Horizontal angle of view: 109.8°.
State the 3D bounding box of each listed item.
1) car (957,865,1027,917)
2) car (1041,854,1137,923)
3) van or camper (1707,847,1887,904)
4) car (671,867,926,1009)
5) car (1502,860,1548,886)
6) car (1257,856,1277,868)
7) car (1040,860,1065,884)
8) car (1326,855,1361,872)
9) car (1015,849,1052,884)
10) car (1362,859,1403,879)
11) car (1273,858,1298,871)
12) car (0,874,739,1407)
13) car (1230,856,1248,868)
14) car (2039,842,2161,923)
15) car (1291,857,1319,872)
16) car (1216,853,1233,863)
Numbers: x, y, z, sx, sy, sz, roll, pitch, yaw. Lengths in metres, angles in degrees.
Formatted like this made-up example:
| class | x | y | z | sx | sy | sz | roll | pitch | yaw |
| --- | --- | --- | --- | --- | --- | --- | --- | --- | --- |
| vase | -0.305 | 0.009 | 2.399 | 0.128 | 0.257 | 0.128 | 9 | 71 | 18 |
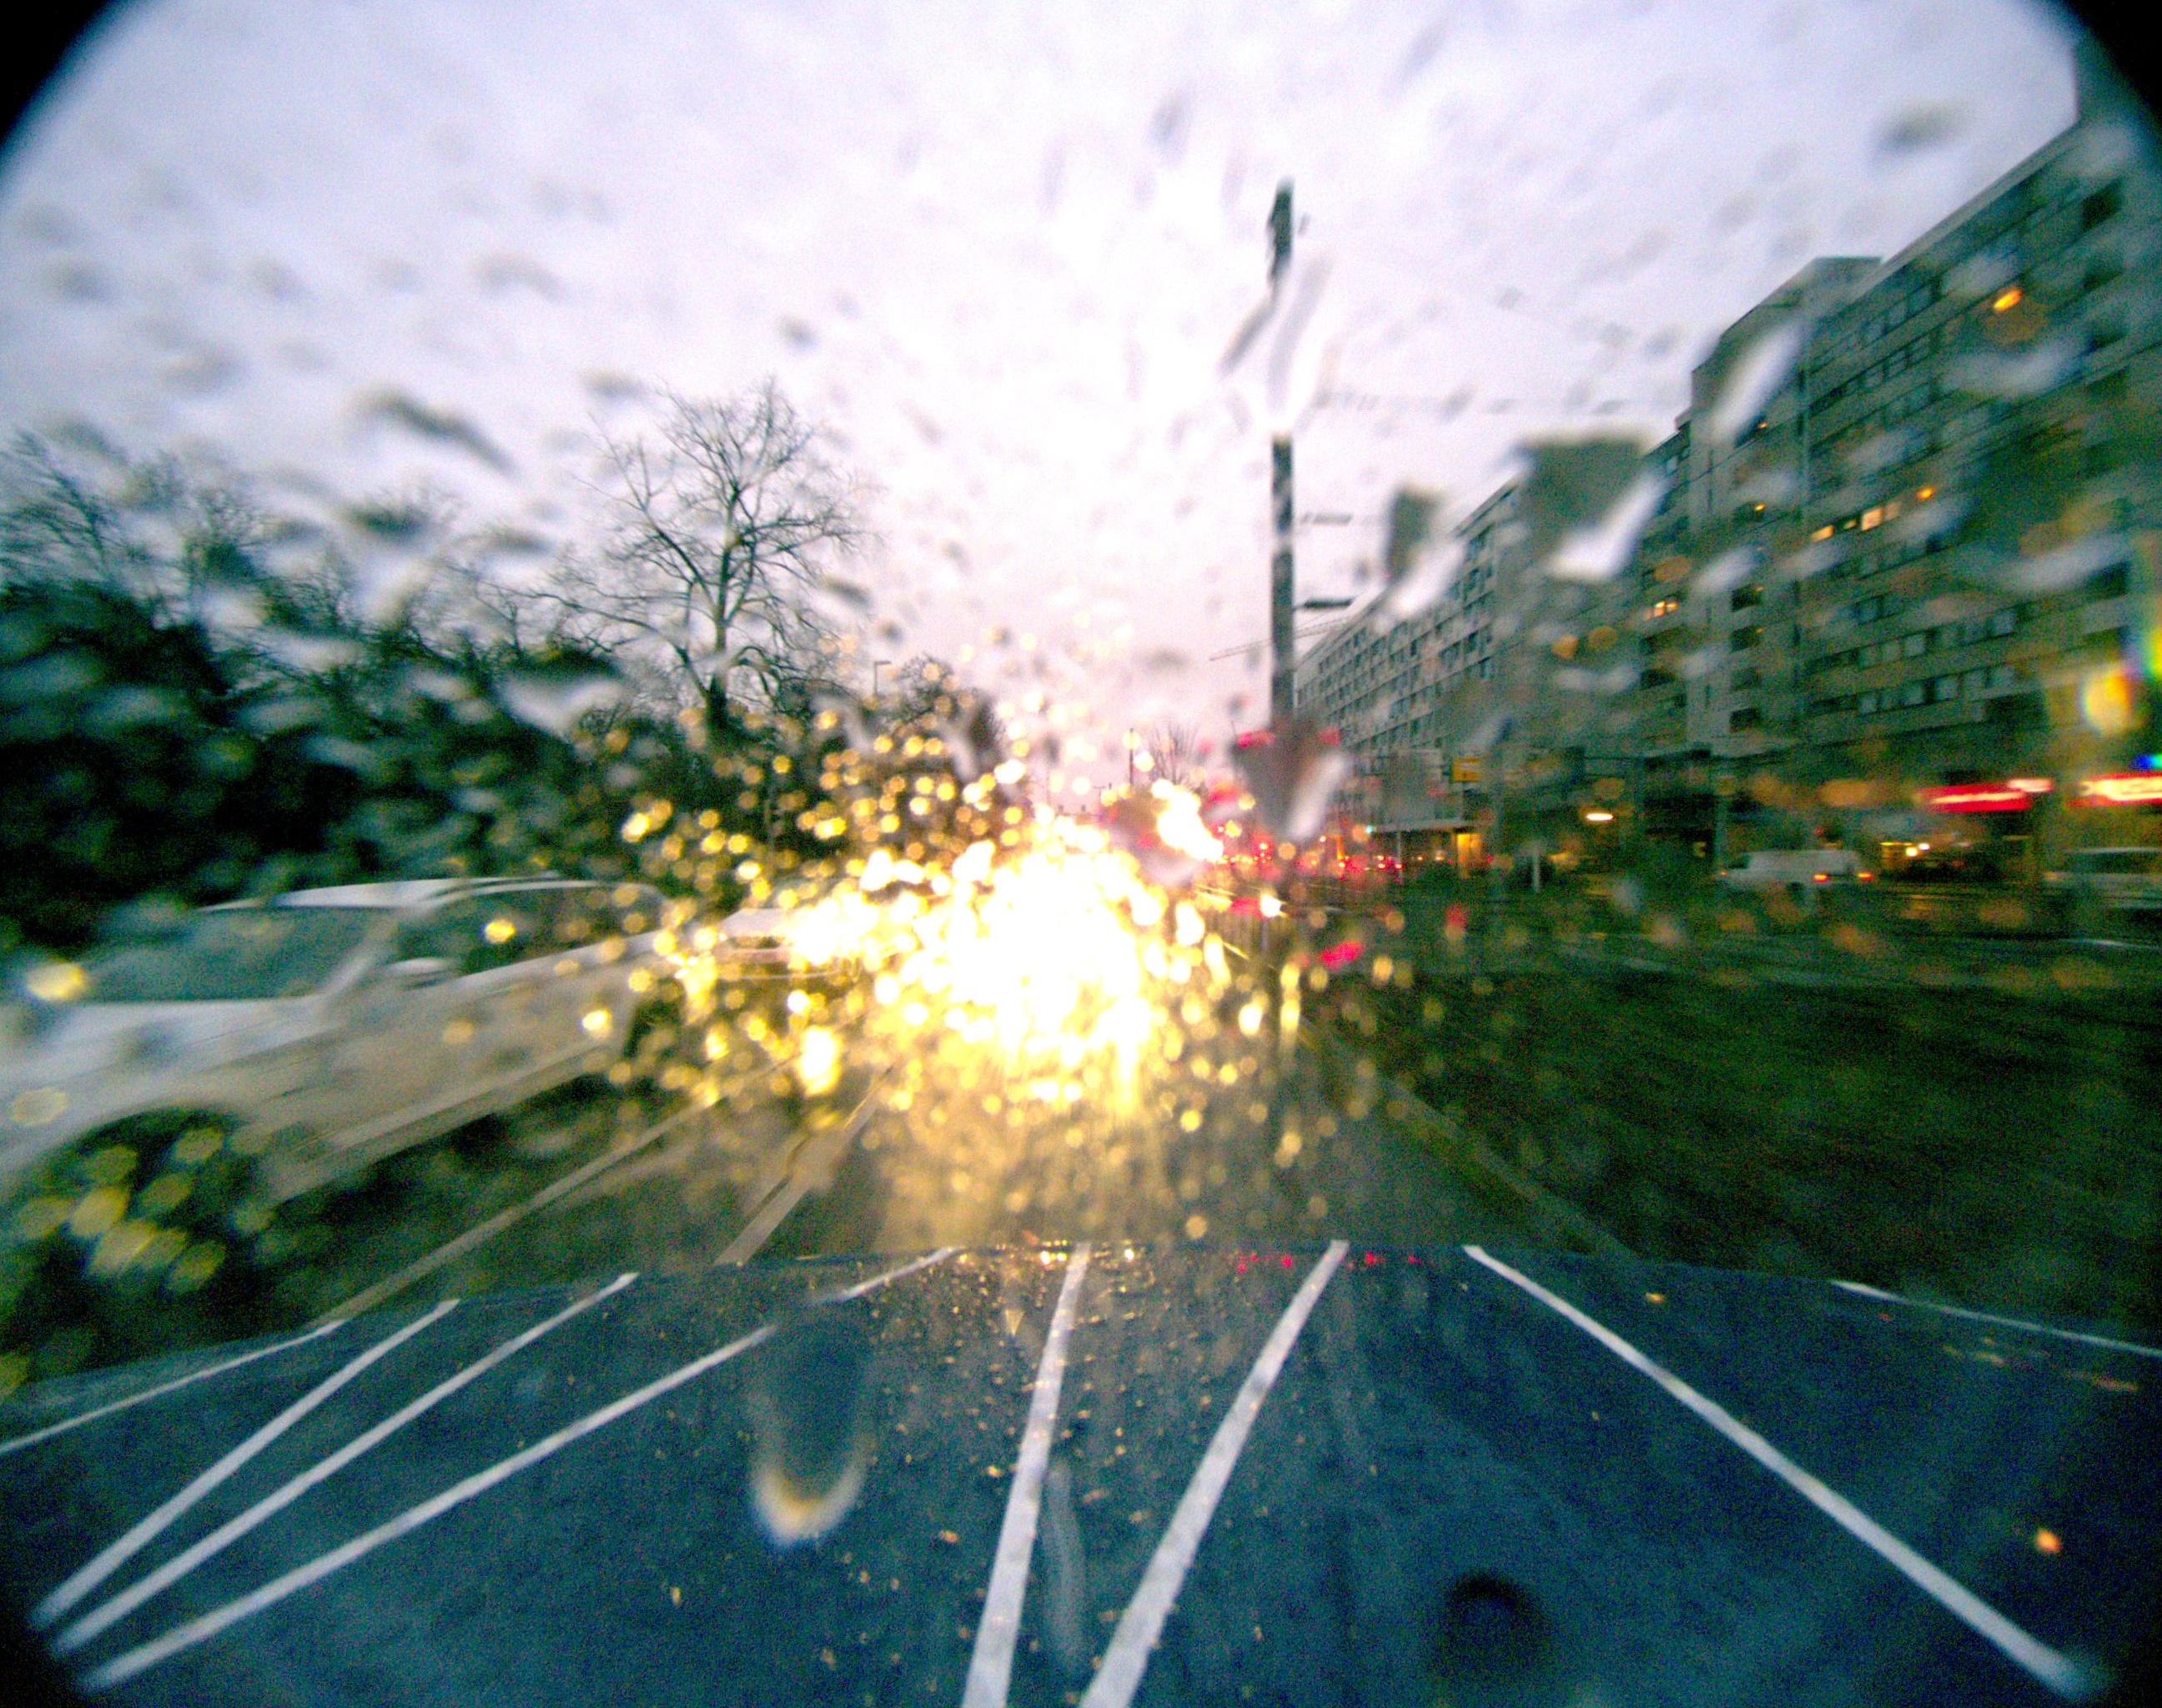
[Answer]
| class | x | y | z | sx | sy | sz | roll | pitch | yaw |
| --- | --- | --- | --- | --- | --- | --- | --- | --- | --- |
| car | -2.961 | 1.211 | 26.157 | 1.880 | 1.490 | 4.076 | -1 | 1 | 0 |
| car | 0.201 | 0.790 | 19.316 | 2.160 | 1.490 | 4.007 | -1 | 1 | 0 |
| van or camper | 28.609 | 0.777 | 30.726 | 1.998 | 2.085 | 5.654 | -1 | 0 | 0 |
| car | -3.618 | 0.991 | 10.606 | 1.777 | 1.453 | 4.041 | 0 | 1 | 4 |
| car | 29.786 | 1.246 | 50.901 | 3.785 | 1.608 | 1.676 | -1 | 1 | -44 |
| car | 24.182 | 1.018 | 98.919 | 1.596 | 1.440 | 3.872 | -1 | 1 | -1 |
| car | -2.076 | 1.342 | 56.880 | 1.679 | 1.670 | 3.864 | -1 | 1 | 0 |
| car | 24.056 | 0.857 | 69.764 | 1.754 | 1.503 | 3.890 | -1 | 1 | -1 |
| car | -2.464 | 0.632 | 40.165 | 1.679 | 1.739 | 3.864 | -1 | 1 | 0 |
| car | 23.713 | 1.183 | 59.864 | 1.677 | 1.440 | 3.766 | -1 | 1 | -1 |
| car | 24.065 | 1.186 | 89.553 | 1.754 | 1.440 | 3.872 | -1 | 1 | -1 |
| car | -4.125 | 0.975 | 4.233 | 1.791 | 1.493 | 4.968 | -1 | 1 | 5 |
| car | 21.223 | 1.079 | 102.335 | 1.596 | 1.440 | 3.872 | -1 | 1 | -1 |
| car | 29.669 | 0.728 | 21.847 | 1.994 | 2.002 | 4.581 | -1 | 2 | 43 |
| car | 23.942 | 1.094 | 81.364 | 1.754 | 1.440 | 3.872 | -1 | 1 | -1 |
| car | 20.818 | 0.607 | 110.381 | 1.596 | 1.440 | 3.872 | -1 | 1 | -1 |
